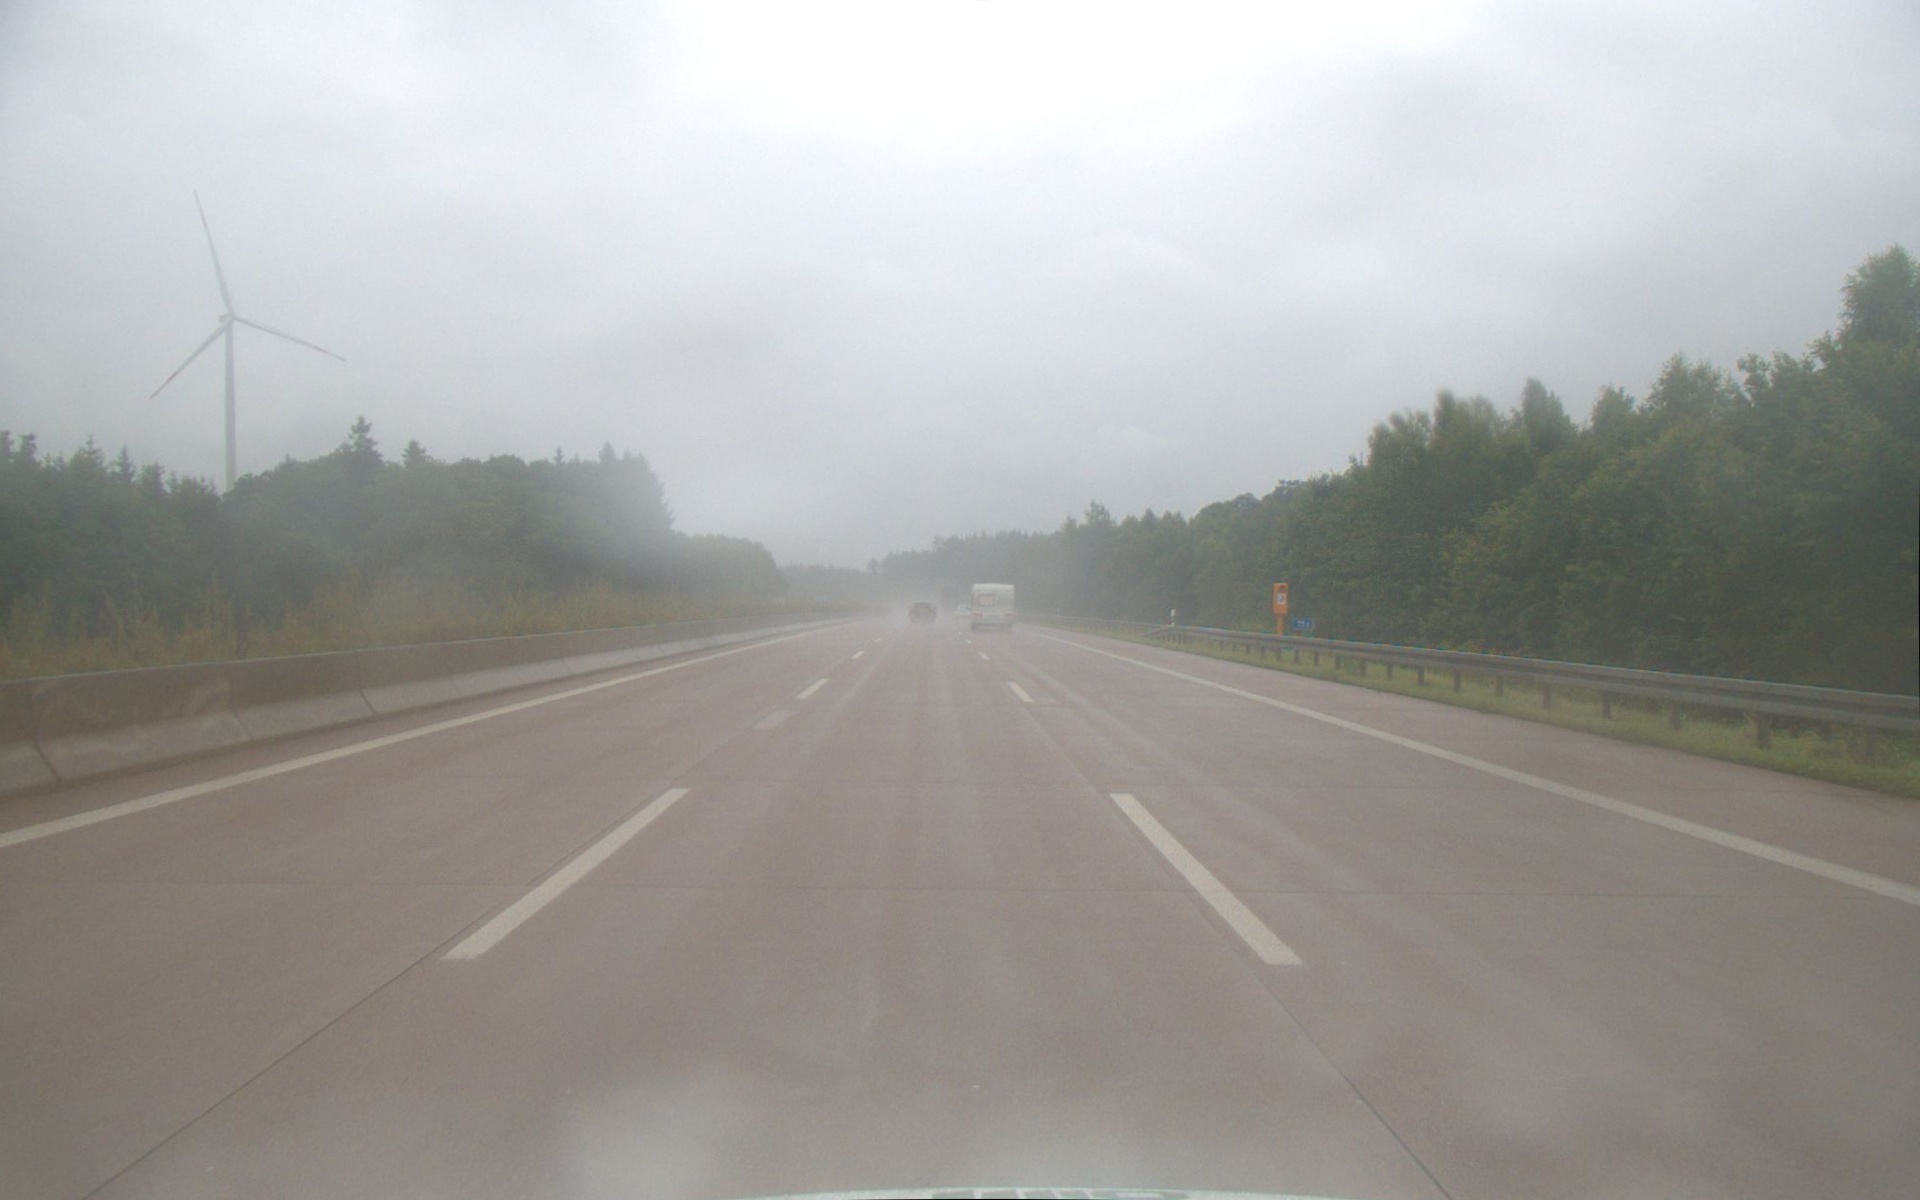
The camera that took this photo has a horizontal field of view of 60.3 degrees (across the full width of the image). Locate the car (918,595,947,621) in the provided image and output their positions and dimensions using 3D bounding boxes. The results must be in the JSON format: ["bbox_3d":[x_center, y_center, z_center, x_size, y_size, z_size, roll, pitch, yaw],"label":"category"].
[{"bbox_3d":[-1.874,0.521,113.639,1.897,1.760,4.130,0,0,0],"label":"car"}]

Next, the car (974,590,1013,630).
[{"bbox_3d":[1.796,0.530,90.181,2.016,2.034,4.098,2,0,0],"label":"car"}]
